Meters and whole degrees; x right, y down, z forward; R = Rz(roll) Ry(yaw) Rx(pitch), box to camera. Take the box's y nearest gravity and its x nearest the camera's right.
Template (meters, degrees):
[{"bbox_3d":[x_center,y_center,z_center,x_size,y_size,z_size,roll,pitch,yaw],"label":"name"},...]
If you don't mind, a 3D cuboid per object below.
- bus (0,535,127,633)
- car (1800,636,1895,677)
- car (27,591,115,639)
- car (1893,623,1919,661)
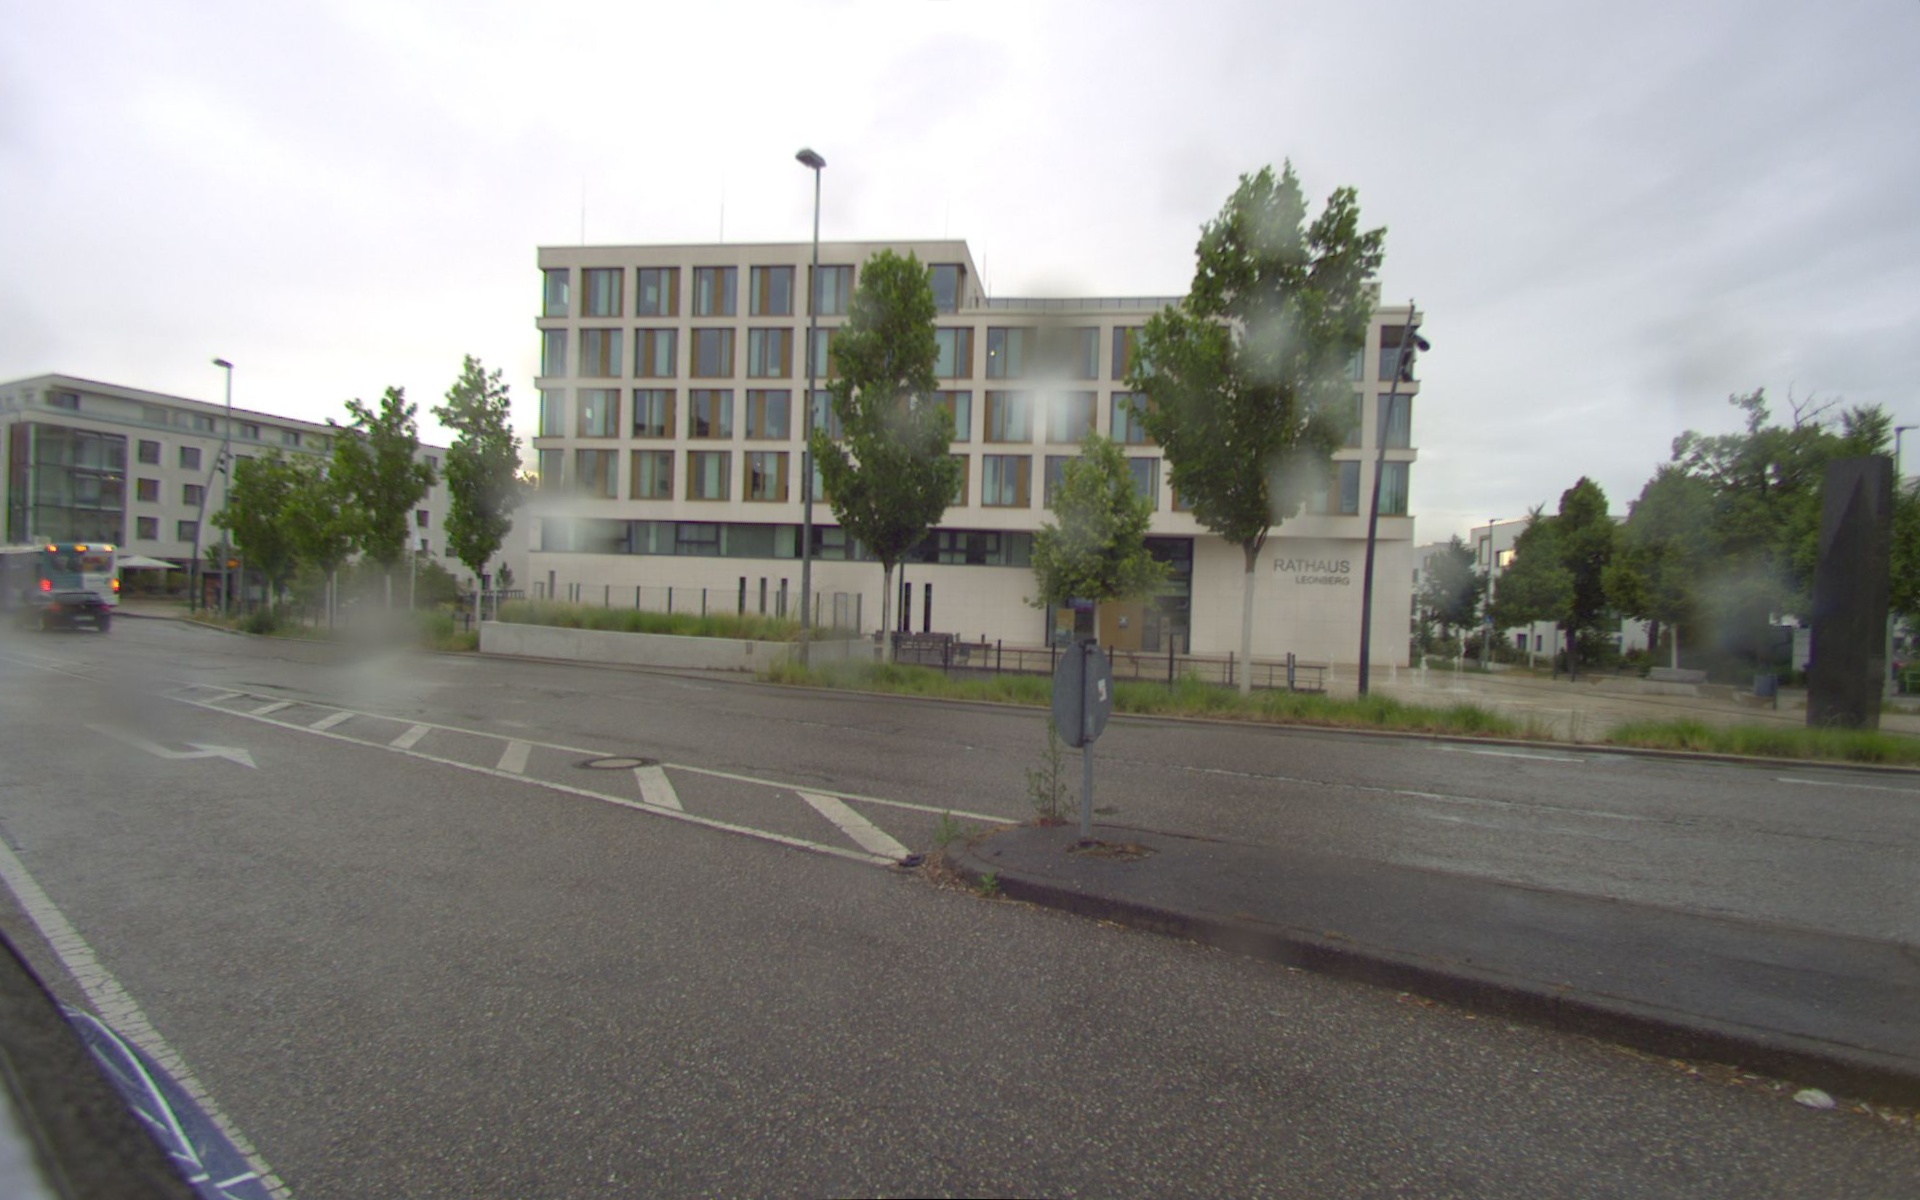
[{"bbox_3d":[-44.908,-0.664,48.490,18.188,4.025,2.918,0,-2,35],"label":"bus"},{"bbox_3d":[49.716,3.138,56.797,1.766,2.029,3.999,0,0,1],"label":"car"},{"bbox_3d":[-30.112,0.452,34.255,3.942,1.439,1.795,2,2,42],"label":"car"},{"bbox_3d":[53.980,2.343,55.604,1.766,2.029,3.999,0,0,1],"label":"car"}]
